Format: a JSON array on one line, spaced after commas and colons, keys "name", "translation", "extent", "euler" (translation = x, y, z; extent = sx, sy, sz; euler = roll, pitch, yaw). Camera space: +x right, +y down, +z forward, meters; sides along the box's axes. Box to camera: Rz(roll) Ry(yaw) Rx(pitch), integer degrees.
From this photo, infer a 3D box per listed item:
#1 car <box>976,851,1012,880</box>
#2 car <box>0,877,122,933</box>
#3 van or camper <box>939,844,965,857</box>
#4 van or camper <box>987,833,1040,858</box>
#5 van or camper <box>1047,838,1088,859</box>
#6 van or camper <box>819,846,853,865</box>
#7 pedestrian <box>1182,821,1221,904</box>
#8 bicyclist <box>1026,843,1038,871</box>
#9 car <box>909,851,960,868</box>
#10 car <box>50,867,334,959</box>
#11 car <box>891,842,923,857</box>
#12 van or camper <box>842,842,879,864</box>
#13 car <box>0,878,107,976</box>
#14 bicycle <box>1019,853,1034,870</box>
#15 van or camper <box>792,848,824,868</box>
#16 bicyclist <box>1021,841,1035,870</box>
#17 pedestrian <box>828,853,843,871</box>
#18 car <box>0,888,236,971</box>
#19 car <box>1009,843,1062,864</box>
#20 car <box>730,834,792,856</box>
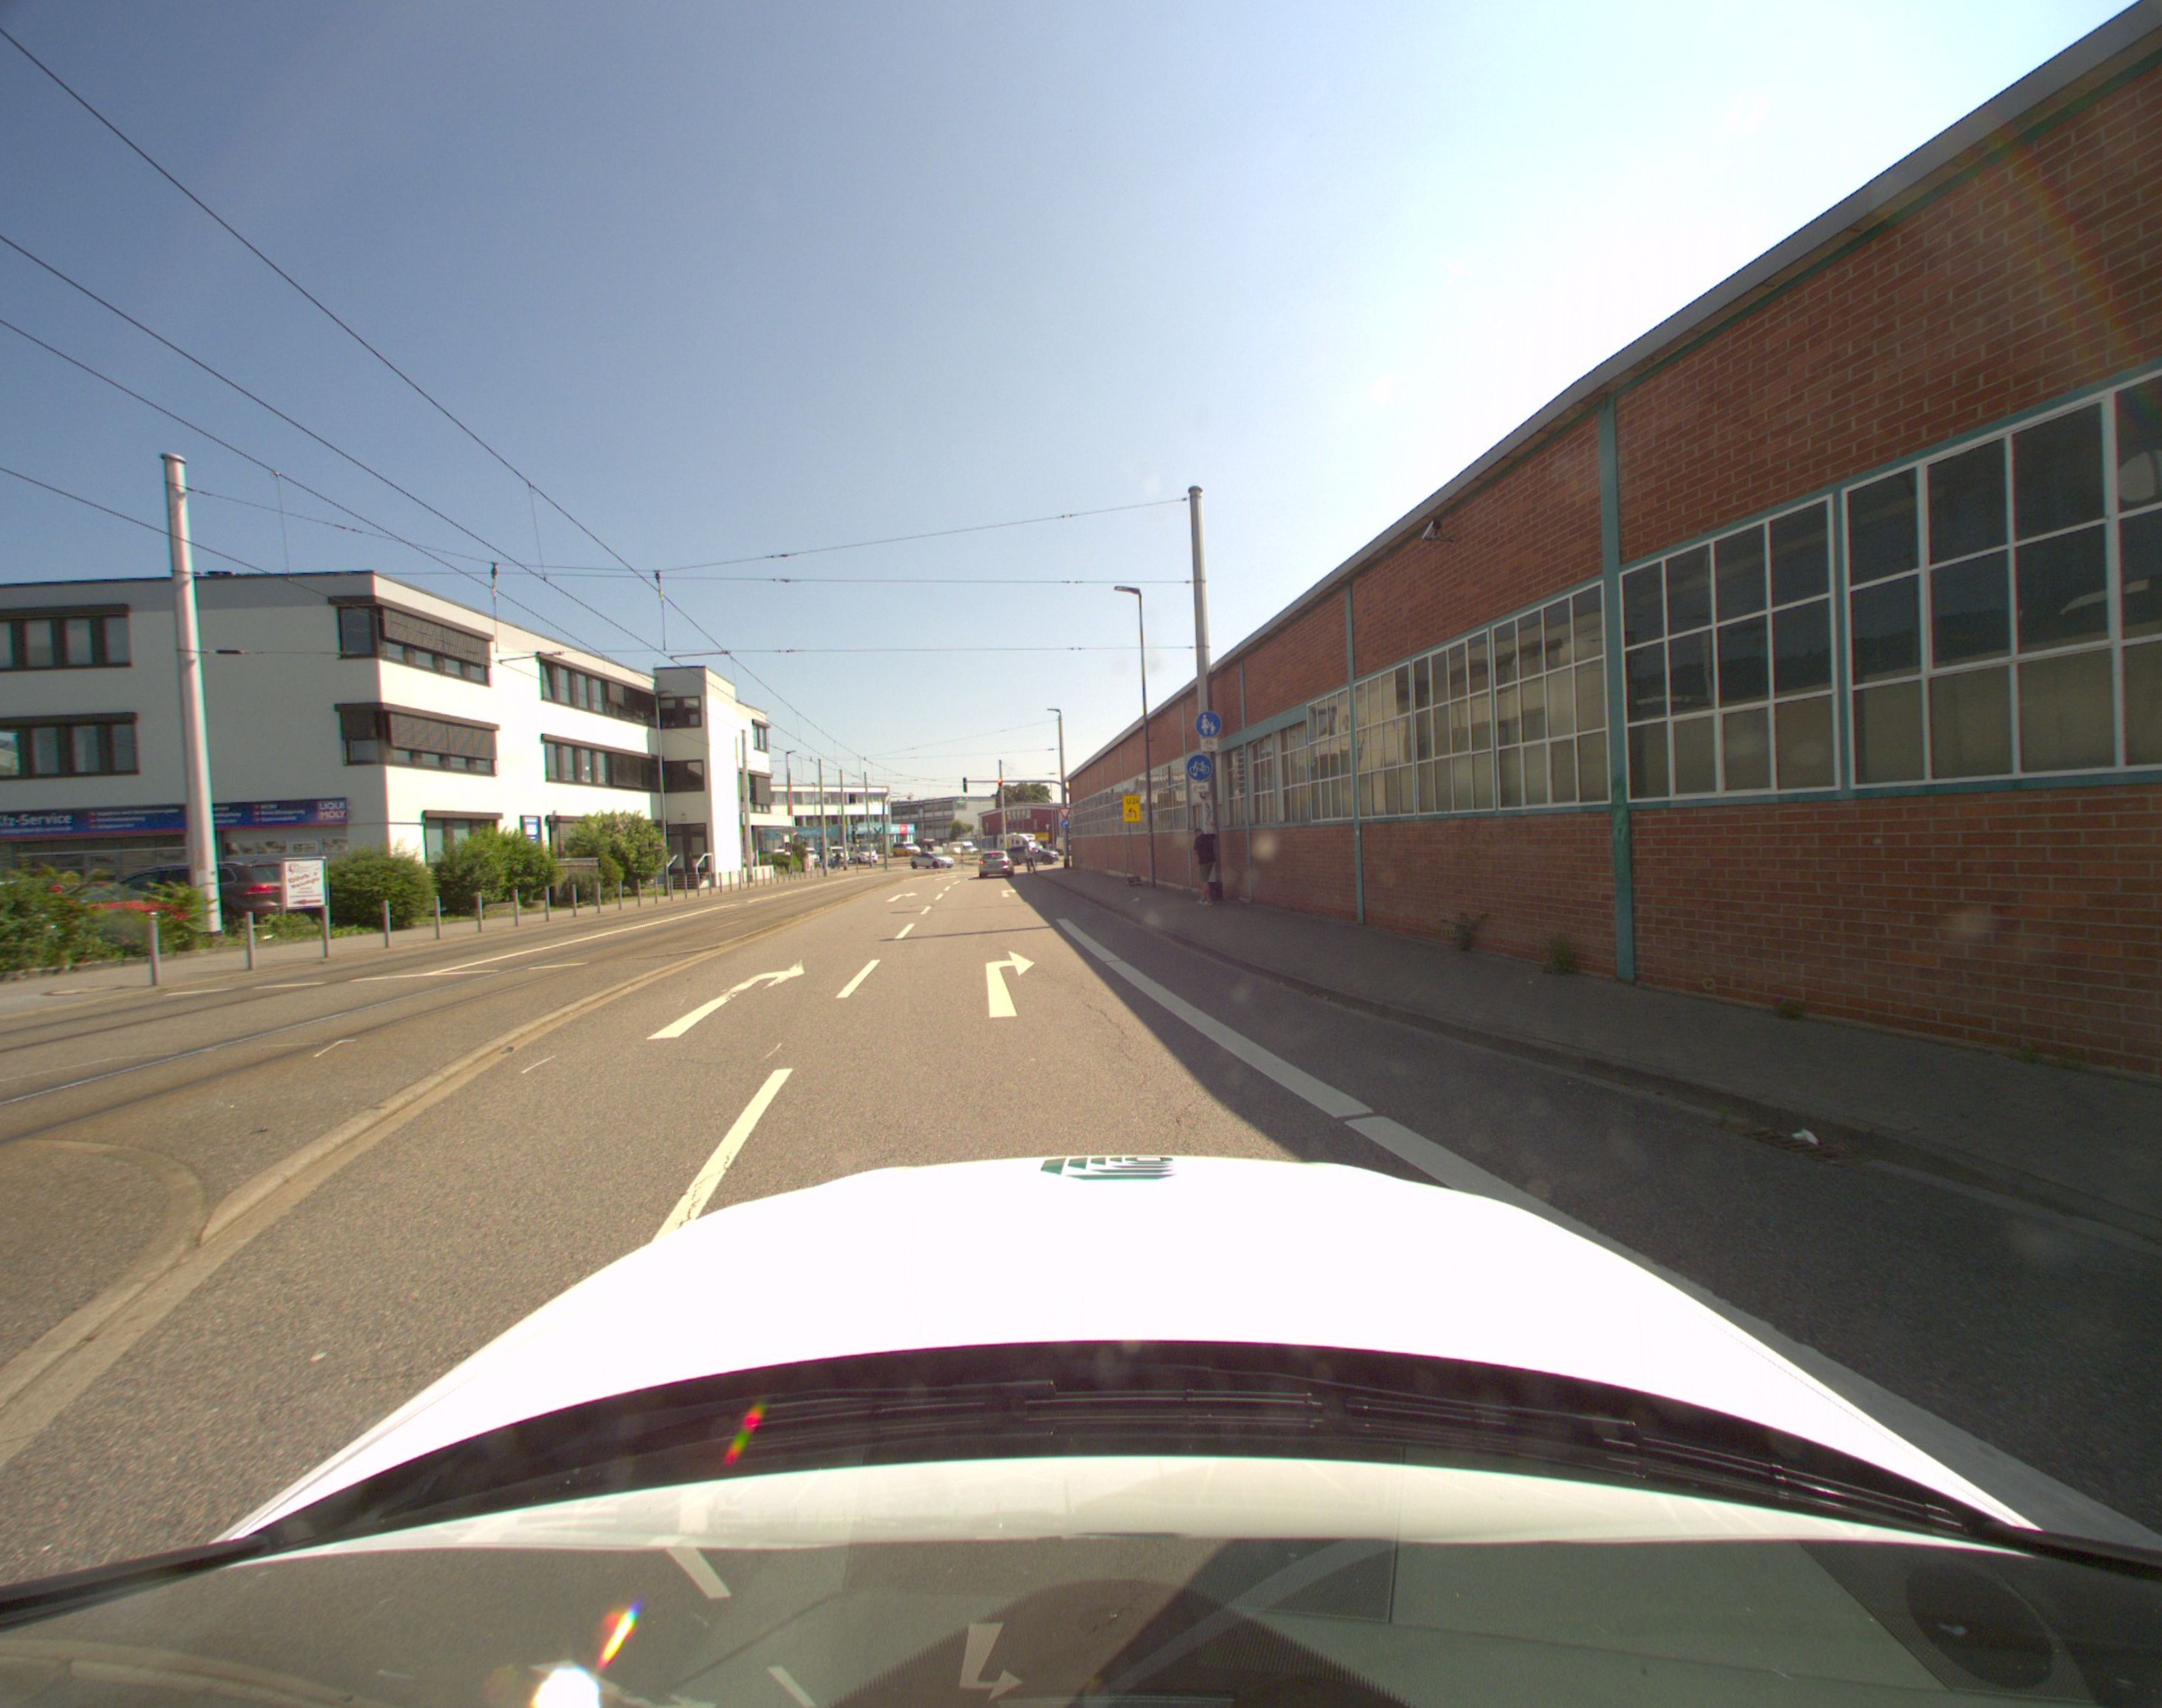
[{"name": "car", "translation": [-4.858, 0.593, 45.981], "extent": [1.742, 1.459, 3.996], "euler": [-3, 1, -3]}, {"name": "car", "translation": [-30.411, 1.489, 23.560], "extent": [1.410, 1.426, 3.137], "euler": [-2, 1, 5]}, {"name": "van or camper", "translation": [-21.320, -0.600, 134.305], "extent": [3.948, 1.947, 2.013], "euler": [-2, 1, 37]}, {"name": "van or camper", "translation": [-8.422, -1.101, 101.659], "extent": [6.898, 2.929, 2.369], "euler": [1, 4, 41]}, {"name": "van or camper", "translation": [-1.792, -0.761, 104.268], "extent": [2.303, 2.439, 5.322], "euler": [-4, 5, -43]}, {"name": "van or camper", "translation": [-27.631, 0.142, 91.826], "extent": [2.009, 2.013, 4.955], "euler": [-4, 4, -36]}, {"name": "pedestrian", "translation": [2.607, 0.171, 17.630], "extent": [0.686, 1.764, 0.446], "euler": [-3, 3, -17]}, {"name": "bicyclist", "translation": [-3.181, 0.173, 52.994], "extent": [0.706, 1.810, 0.981], "euler": [-2, 0, -4]}, {"name": "car", "translation": [-12.764, 0.472, 70.716], "extent": [4.150, 1.374, 1.814], "euler": [-2, 0, 31]}, {"name": "car", "translation": [-20.125, 1.280, 18.628], "extent": [3.981, 1.705, 1.996], "euler": [-3, 0, -6]}, {"name": "car", "translation": [-23.079, -0.619, 107.636], "extent": [1.955, 1.759, 5.062], "euler": [-3, 1, -40]}, {"name": "van or camper", "translation": [-25.250, -0.106, 93.268], "extent": [2.047, 2.295, 5.749], "euler": [-4, 4, -36]}, {"name": "car", "translation": [-18.496, 1.257, 12.780], "extent": [1.730, 1.541, 3.836], "euler": [-3, 1, 0]}, {"name": "bicycle", "translation": [-3.377, 0.456, 50.607], "extent": [0.792, 1.021, 2.149], "euler": [-2, 1, -3]}, {"name": "van or camper", "translation": [-30.492, 0.390, 90.855], "extent": [2.009, 2.013, 4.710], "euler": [-4, 4, -36]}, {"name": "bicyclist", "translation": [-3.284, 0.098, 50.504], "extent": [0.784, 1.721, 1.145], "euler": [-2, 0, -3]}, {"name": "pedestrian", "translation": [-21.300, 0.692, 70.710], "extent": [1.132, 1.454, 0.833], "euler": [-3, 0, -16]}, {"name": "car", "translation": [-19.899, 1.503, 16.349], "extent": [3.817, 1.370, 1.746], "euler": [-2, 1, -4]}, {"name": "car", "translation": [-3.710, -0.027, 66.902], "extent": [3.961, 1.508, 1.885], "euler": [-2, 1, 11]}, {"name": "car", "translation": [-24.929, -0.706, 63.505], "extent": [3.979, 1.518, 1.998], "euler": [-2, 3, -4]}]
